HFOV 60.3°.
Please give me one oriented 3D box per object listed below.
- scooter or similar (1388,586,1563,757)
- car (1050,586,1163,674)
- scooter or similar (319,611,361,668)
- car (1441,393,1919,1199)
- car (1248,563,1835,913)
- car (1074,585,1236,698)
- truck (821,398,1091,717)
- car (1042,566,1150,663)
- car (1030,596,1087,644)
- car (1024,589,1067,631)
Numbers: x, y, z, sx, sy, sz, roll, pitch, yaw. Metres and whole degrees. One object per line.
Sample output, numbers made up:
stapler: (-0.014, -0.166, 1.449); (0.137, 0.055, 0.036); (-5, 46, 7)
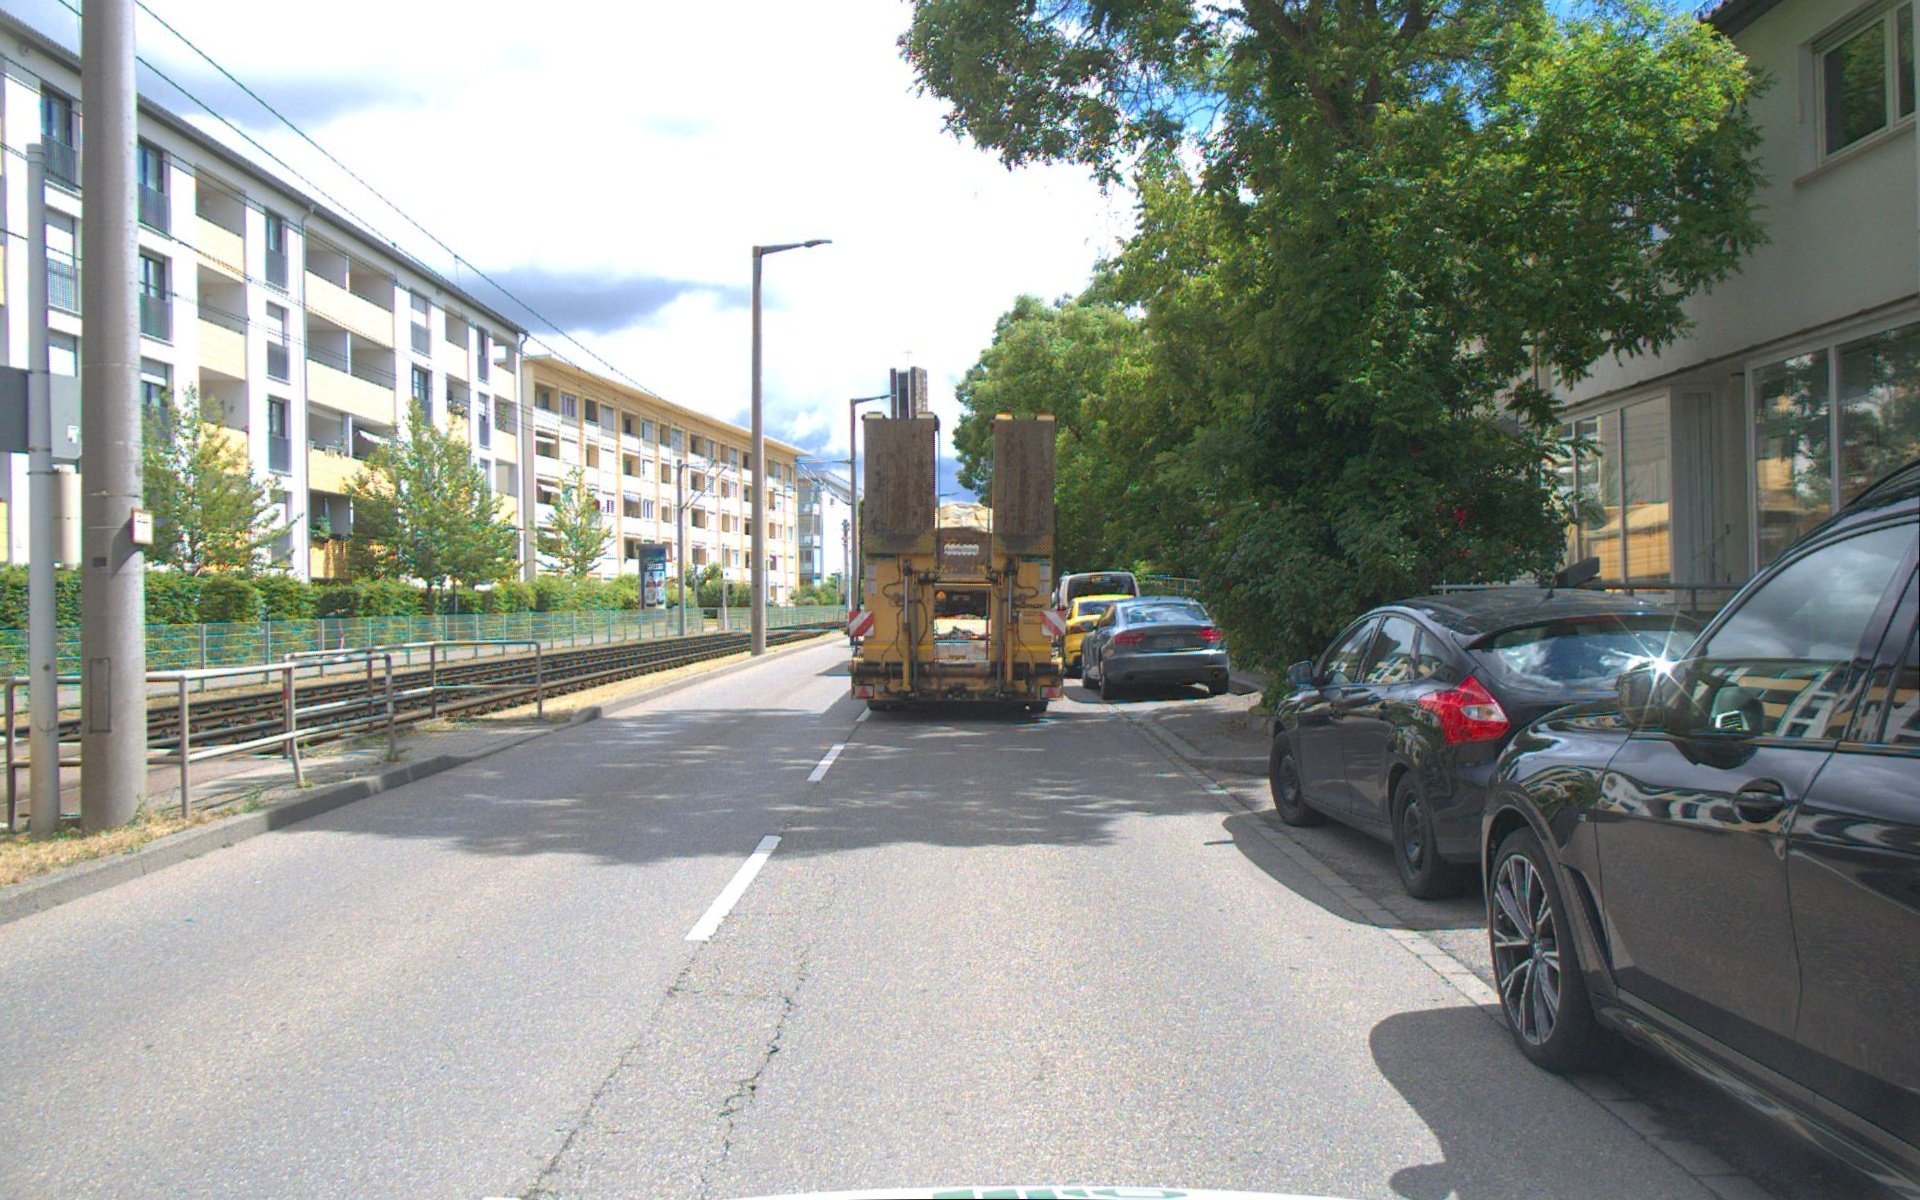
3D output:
scooter or similar: (4.039, 0.533, 13.018); (0.530, 1.264, 1.220); (-2, 1, -36)
car: (2.688, 0.525, 31.157); (1.719, 1.467, 4.341); (-2, 0, 0)
scooter or similar: (-14.554, 0.914, 38.863); (0.480, 1.315, 1.302); (-1, 0, 1)
car: (2.778, 0.501, 3.627); (1.974, 1.820, 5.076); (-2, 0, 1)
car: (3.023, 0.627, 9.652); (1.797, 1.532, 4.241); (-2, 0, -2)
car: (2.784, 0.556, 24.542); (1.720, 1.467, 4.492); (-2, 0, -2)
truck: (-0.165, -0.500, 25.156); (3.060, 3.627, 12.456); (-1, 0, -1)
car: (3.008, 0.309, 37.677); (1.875, 1.993, 5.744); (-2, 0, -1)
car: (3.286, 0.656, 55.650); (1.575, 1.482, 3.675); (-2, 0, -1)
car: (3.749, 0.407, 72.011); (1.785, 1.711, 4.578); (-1, 0, 4)
